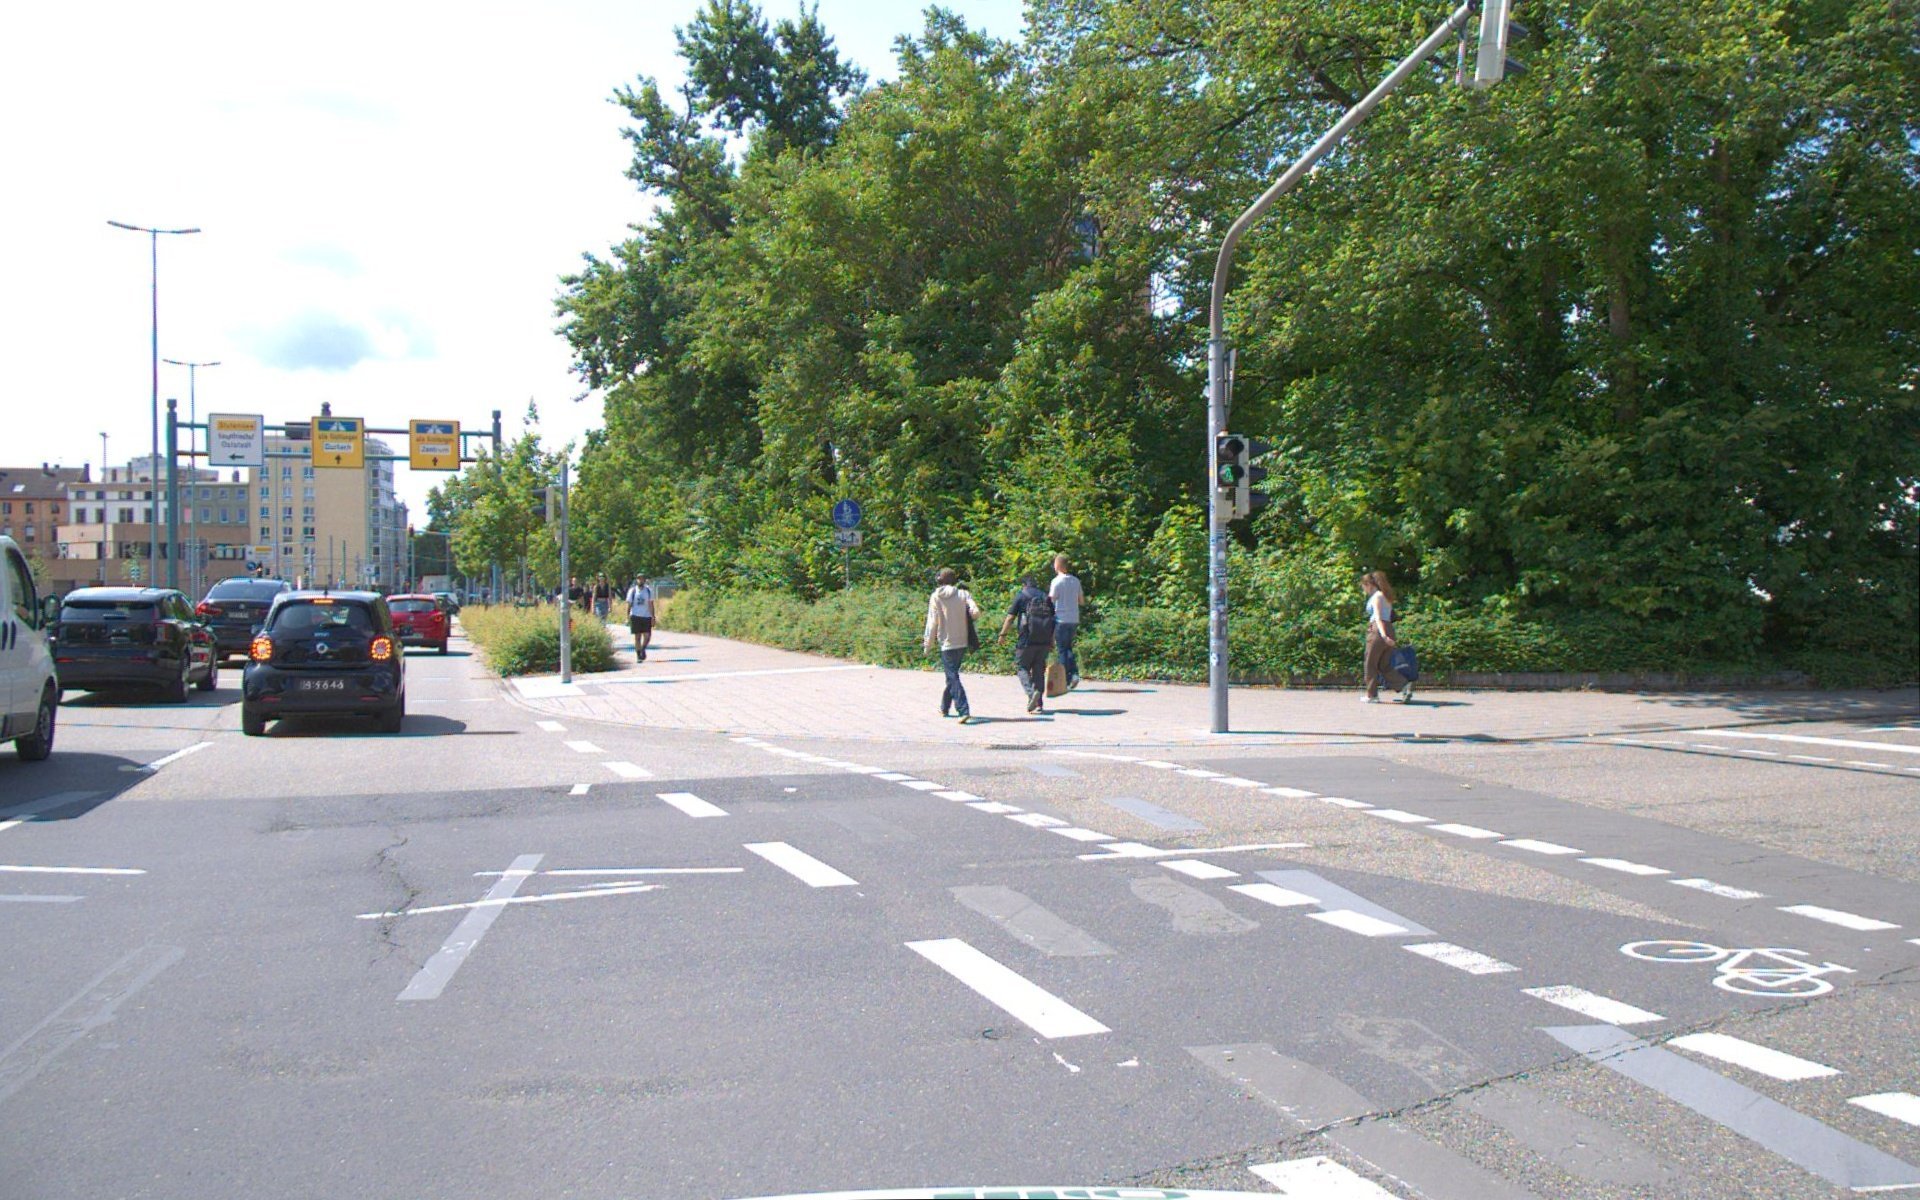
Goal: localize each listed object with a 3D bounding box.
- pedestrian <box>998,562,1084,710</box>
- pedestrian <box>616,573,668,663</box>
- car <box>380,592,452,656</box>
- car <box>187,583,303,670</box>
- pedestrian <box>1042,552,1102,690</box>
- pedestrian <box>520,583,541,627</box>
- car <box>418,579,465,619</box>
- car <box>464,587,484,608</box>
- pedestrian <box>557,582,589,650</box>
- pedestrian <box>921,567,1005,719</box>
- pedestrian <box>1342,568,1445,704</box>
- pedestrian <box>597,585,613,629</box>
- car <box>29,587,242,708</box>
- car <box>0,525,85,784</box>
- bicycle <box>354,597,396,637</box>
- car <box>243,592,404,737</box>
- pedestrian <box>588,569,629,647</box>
[{"bbox_3d":[0.969,0.416,20.092,0.781,1.734,1.179,0,1,-11],"label":"pedestrian"},{"bbox_3d":[-6.290,0.344,32.667,0.838,1.730,0.926,-2,0,-19],"label":"pedestrian"},{"bbox_3d":[-13.310,0.560,40.402,1.587,1.436,3.498,1,0,-19],"label":"car"},{"bbox_3d":[-14.353,0.494,33.381,1.799,1.629,4.369,1,0,-19],"label":"car"},{"bbox_3d":[1.528,0.281,22.633,0.659,1.852,0.701,0,1,-11],"label":"pedestrian"},{"bbox_3d":[-19.615,0.235,75.516,0.826,2.003,0.855,-1,0,-21],"label":"pedestrian"},{"bbox_3d":[-19.622,-0.064,62.500,1.587,1.436,3.498,1,0,-19],"label":"car"},{"bbox_3d":[-49.052,-0.241,166.943,1.912,1.998,3.933,1,-1,-16],"label":"car"},{"bbox_3d":[-11.665,0.469,49.855,0.826,2.003,0.855,-1,0,-21],"label":"pedestrian"},{"bbox_3d":[0.022,0.481,19.488,0.781,1.734,1.179,0,1,-11],"label":"pedestrian"},{"bbox_3d":[5.515,0.436,21.024,1.002,1.654,0.853,1,3,41],"label":"pedestrian"},{"bbox_3d":[-15.755,0.315,73.446,0.498,1.924,0.553,2,-1,-38],"label":"pedestrian"},{"bbox_3d":[-11.734,0.633,23.891,1.986,1.557,4.862,1,0,-18],"label":"car"},{"bbox_3d":[-8.429,0.412,12.787,1.974,1.989,5.169,0,0,-17],"label":"car"},{"bbox_3d":[-31.069,0.912,87.759,1.965,2.049,3.974,1,-1,-21],"label":"bicycle"},{"bbox_3d":[-7.296,0.682,19.185,1.587,1.511,3.497,0,0,-19],"label":"car"},{"bbox_3d":[-8.719,0.200,41.010,0.826,1.901,1.013,-1,0,-21],"label":"pedestrian"}]
